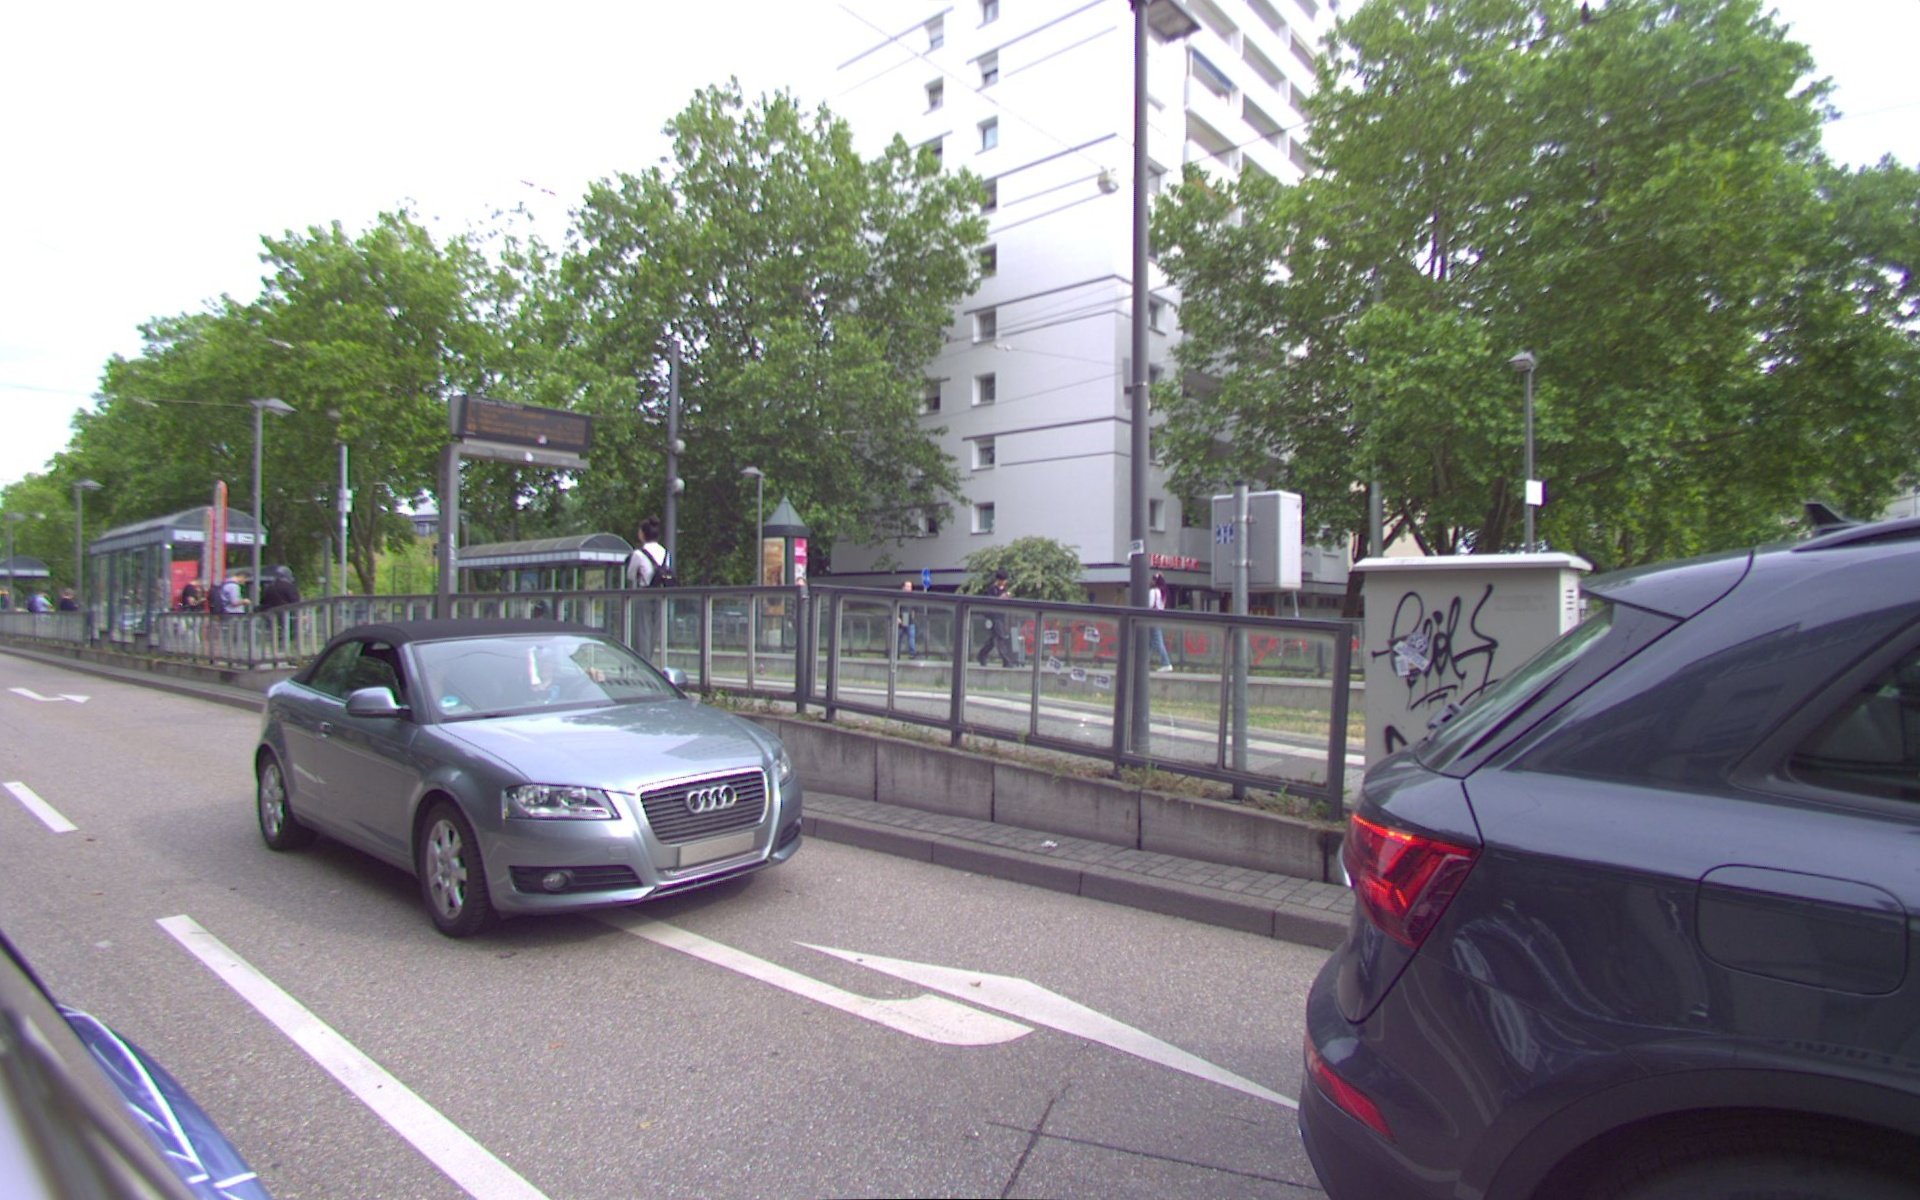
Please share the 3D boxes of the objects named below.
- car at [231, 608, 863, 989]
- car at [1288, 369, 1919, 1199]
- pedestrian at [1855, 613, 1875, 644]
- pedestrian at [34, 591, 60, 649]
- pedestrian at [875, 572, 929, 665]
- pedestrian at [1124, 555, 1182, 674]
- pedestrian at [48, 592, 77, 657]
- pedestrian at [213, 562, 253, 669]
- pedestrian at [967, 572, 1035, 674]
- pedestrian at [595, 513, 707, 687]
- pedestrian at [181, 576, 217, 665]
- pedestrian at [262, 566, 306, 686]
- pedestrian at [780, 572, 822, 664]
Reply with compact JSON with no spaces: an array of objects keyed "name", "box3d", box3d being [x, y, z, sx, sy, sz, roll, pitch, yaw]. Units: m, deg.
[{"name":"car","box3d":[-2.580,0.765,5.777,4.097,1.398,1.694,-1,0,41]},{"name":"car","box3d":[2.706,0.531,0.965,4.225,1.649,1.715,-1,0,41]},{"name":"pedestrian","box3d":[59.034,1.865,66.028,0.667,2.029,0.670,-1,0,3]},{"name":"pedestrian","box3d":[-29.020,0.627,32.178,0.523,1.818,0.607,-1,0,-35]},{"name":"pedestrian","box3d":[-1.170,0.367,20.548,0.666,1.848,0.871,-1,0,41]},{"name":"pedestrian","box3d":[3.284,0.236,17.229,0.666,1.965,0.728,-1,0,41]},{"name":"pedestrian","box3d":[-25.551,0.696,28.816,0.523,1.818,0.607,-1,0,-35]},{"name":"pedestrian","box3d":[-12.688,0.268,17.663,0.605,1.818,0.469,-1,0,45]},{"name":"pedestrian","box3d":[0.743,0.403,18.176,0.850,1.769,0.871,-1,0,41]},{"name":"pedestrian","box3d":[-3.185,0.002,10.414,0.979,1.683,0.711,-1,0,44]},{"name":"pedestrian","box3d":[-15.908,0.421,21.155,0.467,1.818,0.607,-1,0,-24]},{"name":"pedestrian","box3d":[-10.512,0.391,15.735,0.513,1.818,0.606,-1,0,-37]},{"name":"pedestrian","box3d":[-3.442,0.377,21.898,0.553,1.945,0.690,-1,0,41]}]
